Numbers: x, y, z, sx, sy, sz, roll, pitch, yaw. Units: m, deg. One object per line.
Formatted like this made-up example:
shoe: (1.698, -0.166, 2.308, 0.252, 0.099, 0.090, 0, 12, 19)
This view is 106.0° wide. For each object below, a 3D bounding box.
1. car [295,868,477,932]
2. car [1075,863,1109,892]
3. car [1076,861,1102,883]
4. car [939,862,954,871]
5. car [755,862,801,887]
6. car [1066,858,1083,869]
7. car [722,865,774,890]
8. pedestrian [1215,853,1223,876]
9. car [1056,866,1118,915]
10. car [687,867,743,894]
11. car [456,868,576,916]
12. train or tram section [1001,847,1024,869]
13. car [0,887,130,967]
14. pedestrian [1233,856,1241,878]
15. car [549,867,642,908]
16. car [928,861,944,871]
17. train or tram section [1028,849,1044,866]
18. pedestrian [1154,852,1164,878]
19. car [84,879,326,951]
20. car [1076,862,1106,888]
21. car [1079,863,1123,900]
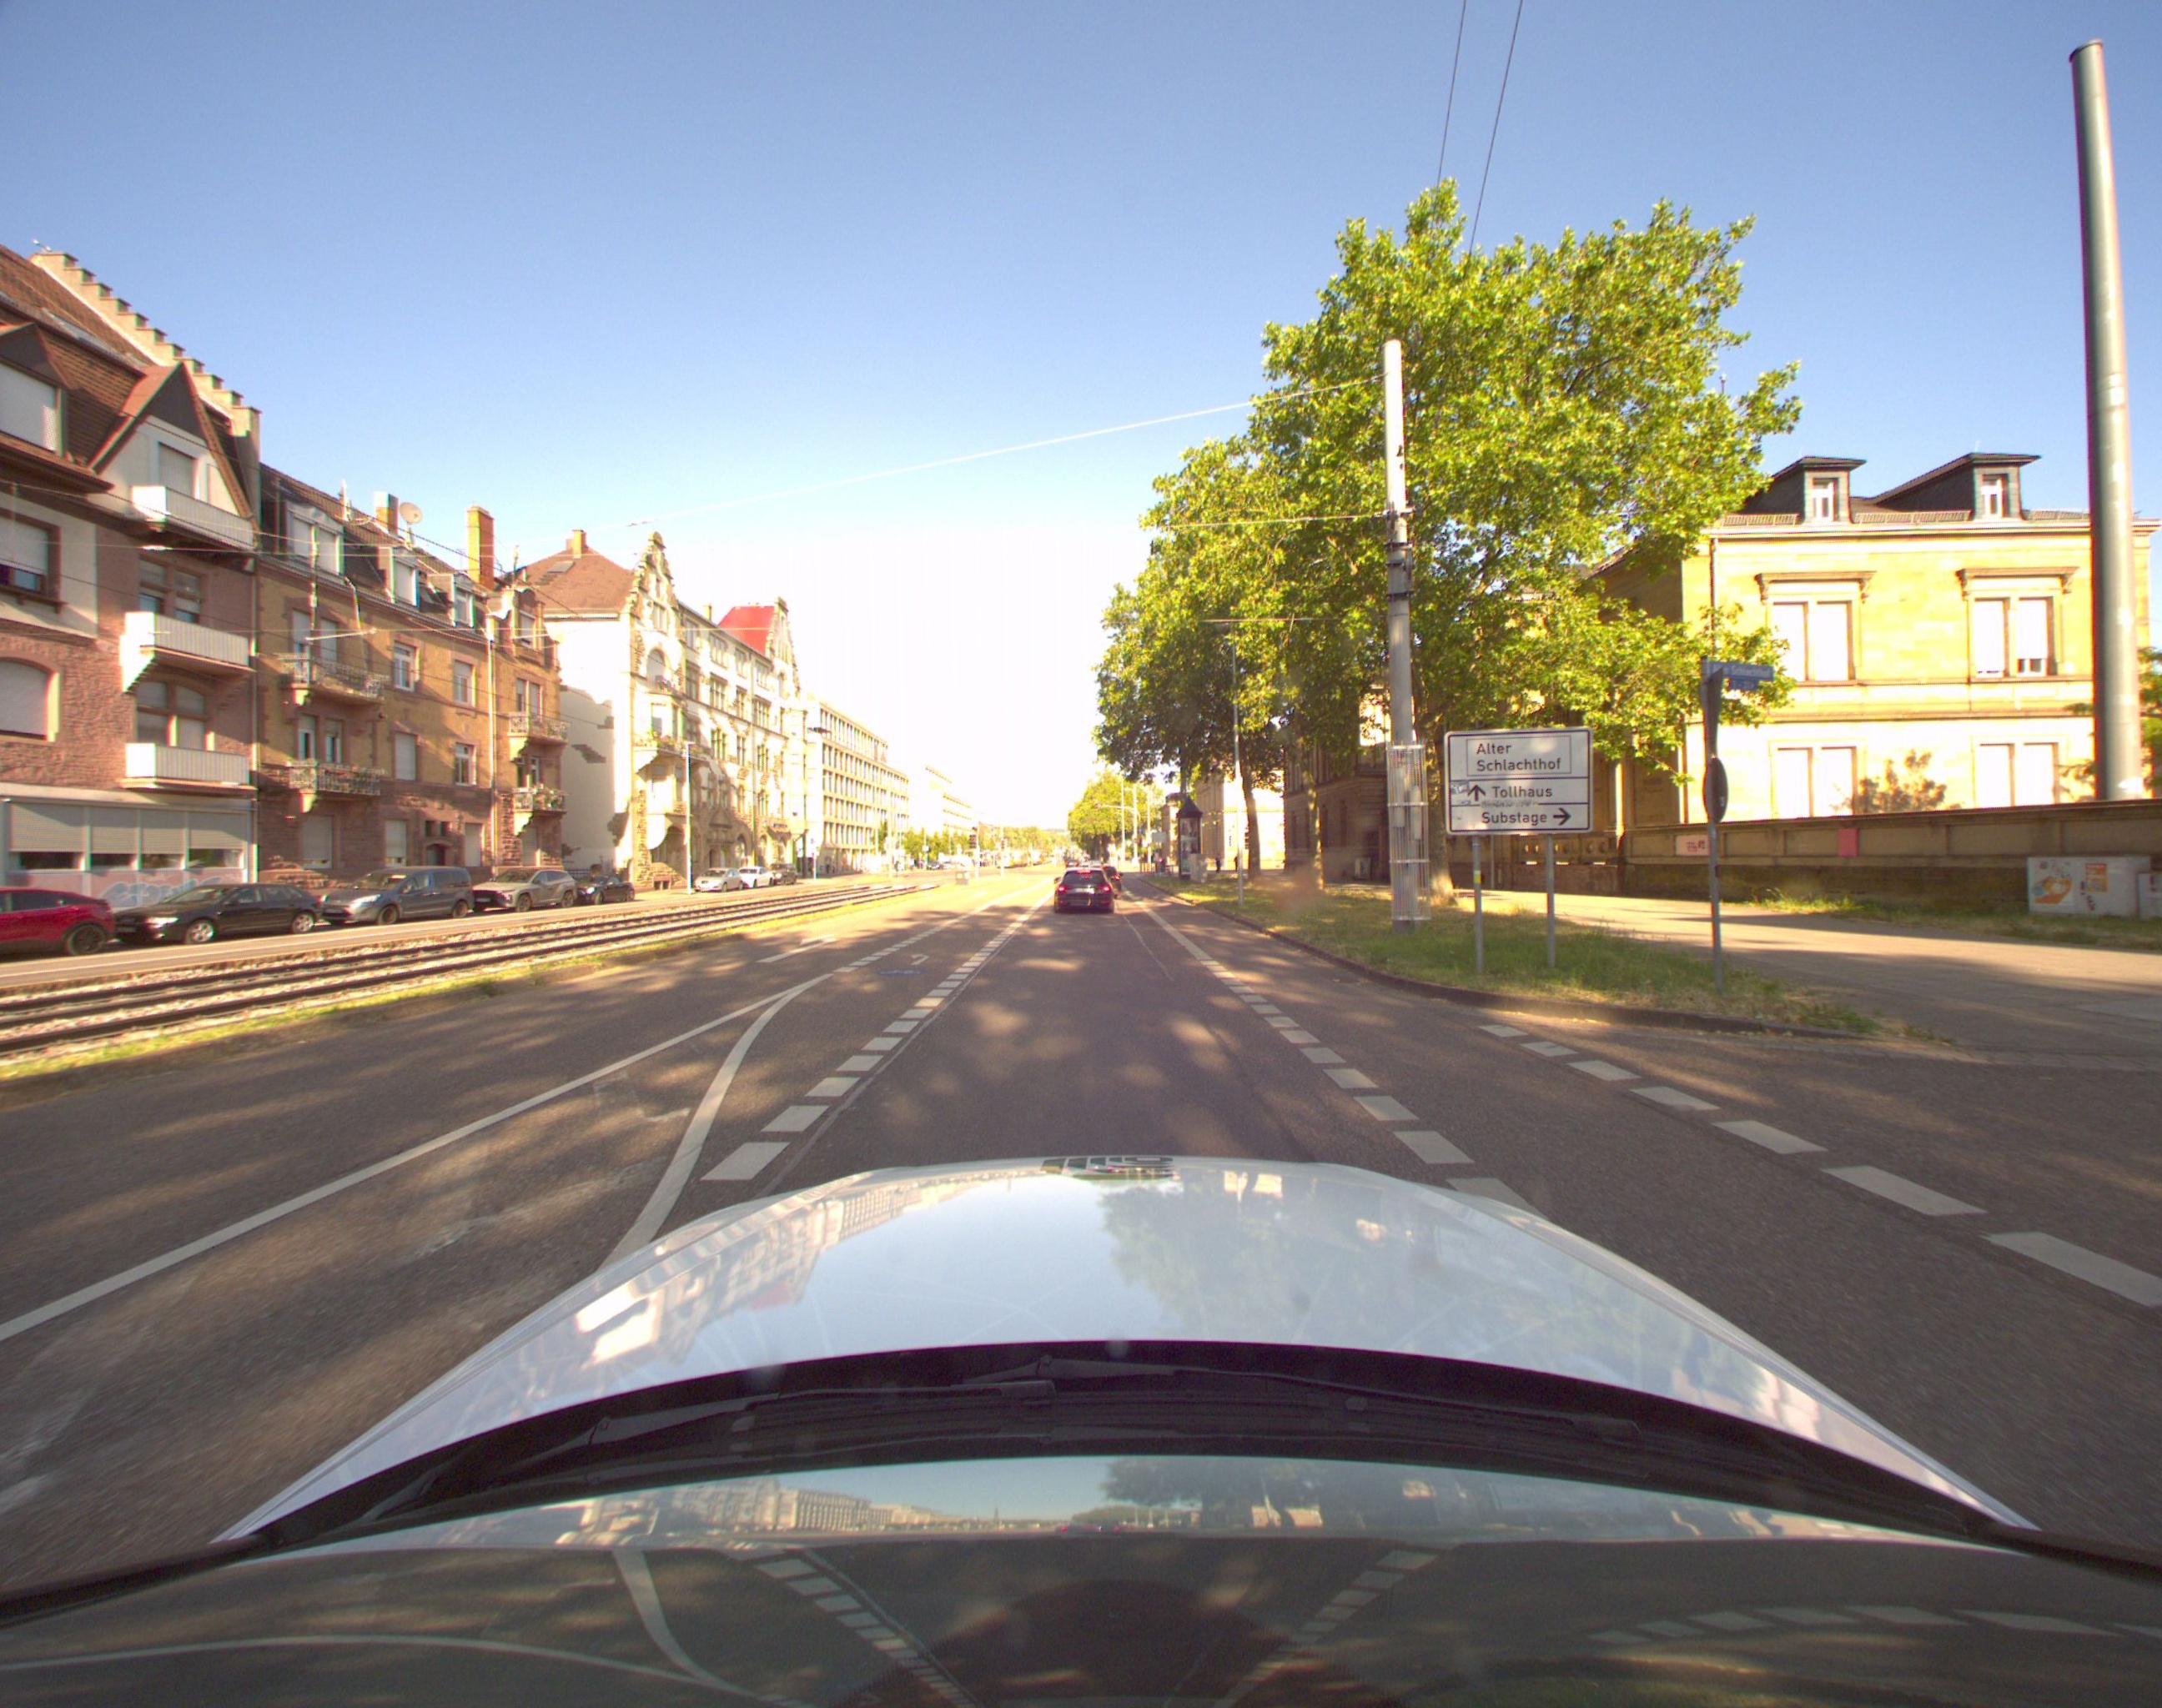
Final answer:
car: (-22.030, 1.387, 26.099, 1.787, 1.754, 4.458, 2, 0, 3)
car: (0.622, 1.270, 45.322, 1.788, 1.510, 4.000, -1, 0, 1)
car: (0.622, 1.296, 59.414, 1.788, 1.510, 4.000, -1, 0, 1)
car: (-22.026, 2.037, 133.669, 1.789, 1.510, 3.997, -1, 0, -2)
car: (-22.451, 1.501, 60.509, 1.789, 1.719, 4.183, 2, 0, -1)
car: (-0.847, 1.299, 109.267, 1.785, 1.510, 4.006, 0, -1, 6)
car: (-22.412, 1.577, 54.939, 1.789, 1.510, 4.183, 2, 0, -1)
pedestrian: (10.724, 0.802, 63.313, 0.584, 1.728, 0.652, 0, 0, 13)
car: (0.176, 1.133, 26.565, 1.827, 1.391, 4.158, -1, 0, 0)
car: (-22.159, 1.571, 49.456, 1.791, 1.510, 3.994, 2, 0, -4)
car: (-22.025, 1.434, 31.984, 1.681, 1.652, 4.199, 2, 0, 0)
train or tram section: (-11.465, 0.650, 137.135, 2.816, 3.451, 9.064, -1, 0, 1)
car: (-22.294, 1.487, 16.156, 1.789, 1.460, 4.265, 2, 0, -1)
pedestrian: (12.084, 1.000, 62.968, 0.584, 1.728, 0.653, 0, 0, 15)
car: (-22.074, 1.468, 37.228, 1.681, 1.652, 4.199, 2, 0, 0)
car: (-22.548, 1.880, 126.883, 1.789, 1.510, 3.997, -1, 0, -2)
train or tram section: (-9.225, 0.690, 168.440, 2.817, 3.451, 9.058, -1, 0, -1)
pedestrian: (5.306, 0.745, 55.466, 0.584, 1.728, 0.652, 0, 0, 13)
car: (-22.116, 1.477, 20.837, 1.788, 1.510, 4.000, 2, 0, 0)
car: (0.629, 1.309, 50.975, 1.788, 1.510, 4.000, -1, 0, 1)
car: (0.849, 1.166, 35.845, 1.788, 1.510, 4.000, -1, 0, 1)
